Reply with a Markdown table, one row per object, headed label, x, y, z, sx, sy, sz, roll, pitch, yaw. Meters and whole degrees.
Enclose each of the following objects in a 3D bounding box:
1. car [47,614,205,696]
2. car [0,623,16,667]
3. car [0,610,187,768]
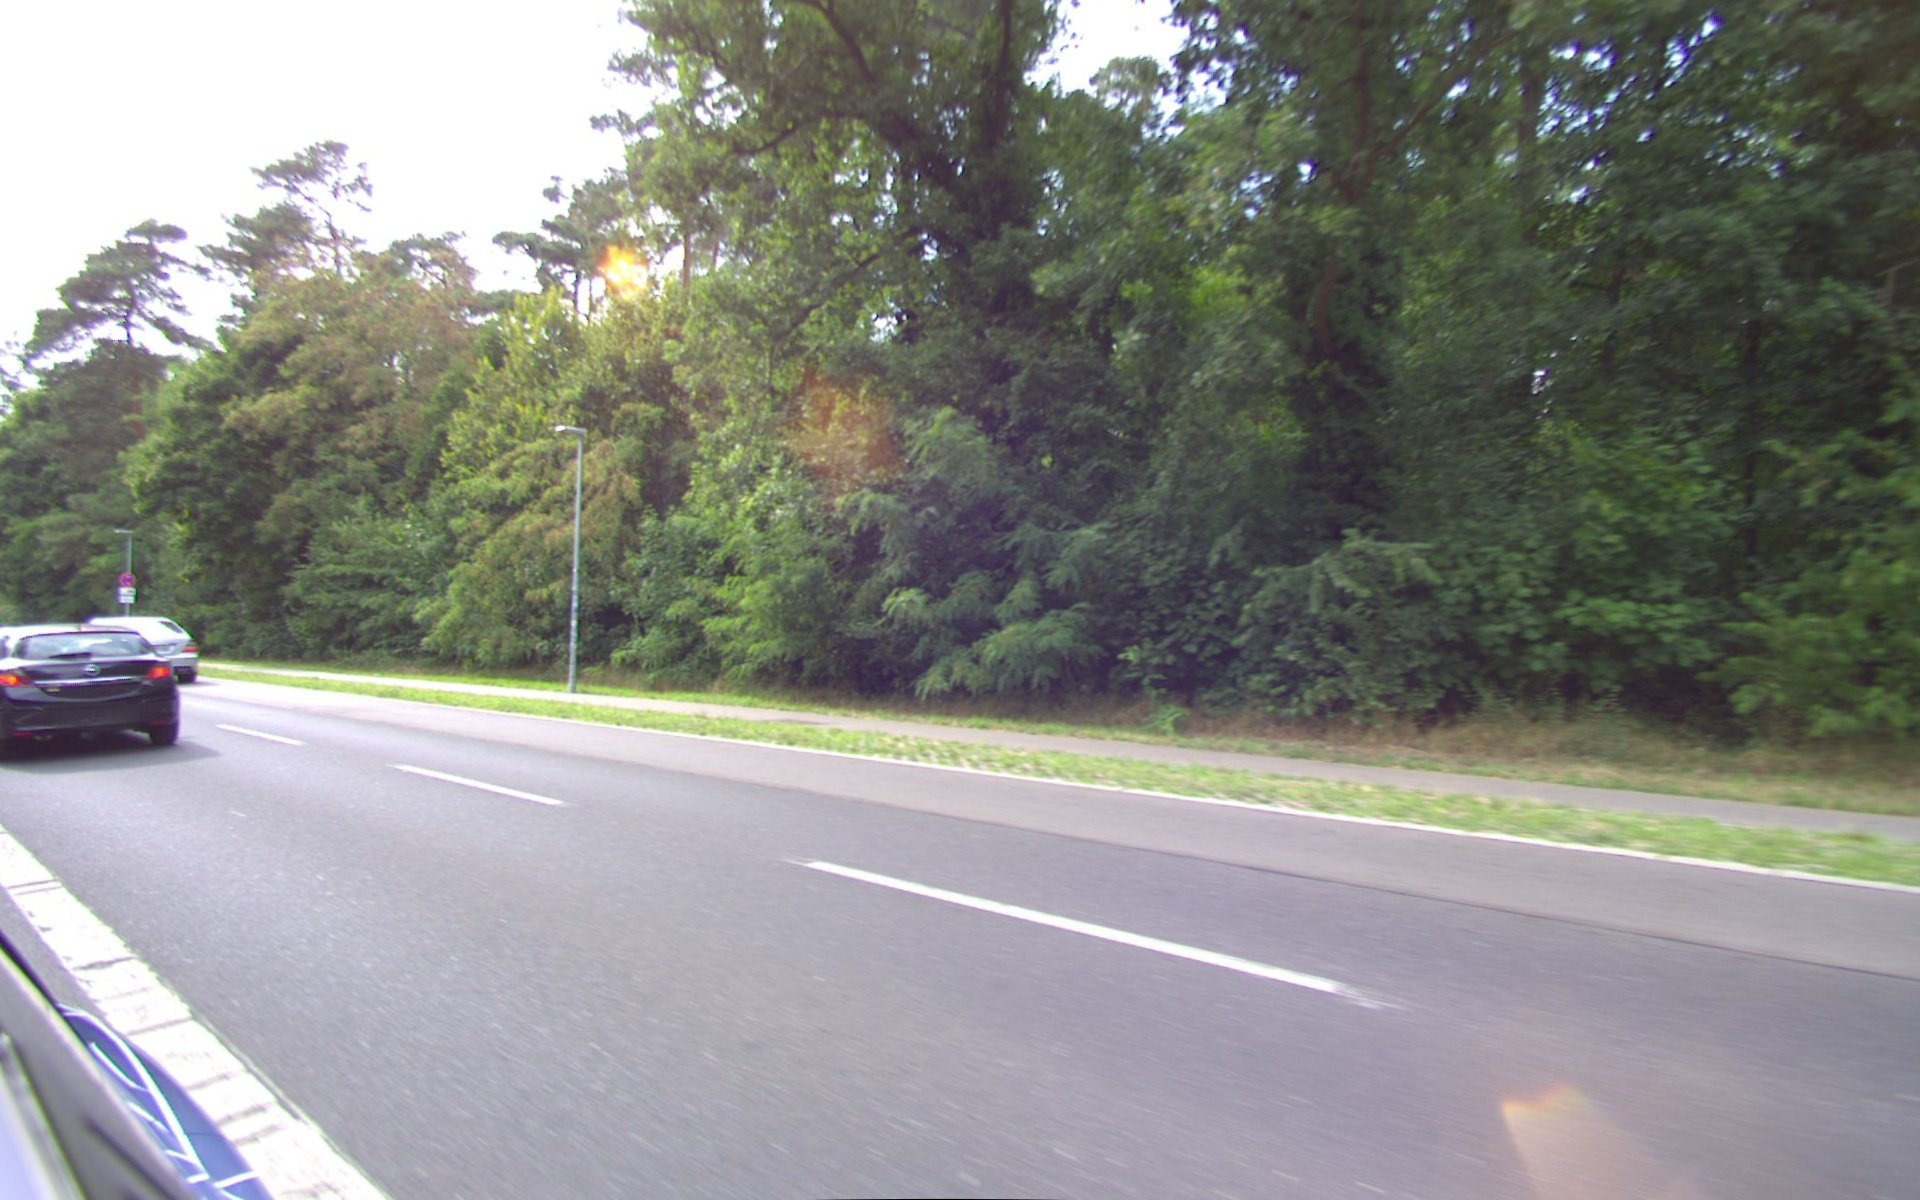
| label | x | y | z | sx | sy | sz | roll | pitch | yaw |
| --- | --- | --- | --- | --- | --- | --- | --- | --- | --- |
| car | -18.904 | 1.156 | 22.865 | 4.601 | 1.574 | 1.973 | 0 | 1 | 41 |
| car | -34.859 | 1.573 | 35.486 | 4.397 | 1.453 | 1.864 | 0 | 1 | 38 |
| car | -10.487 | 0.894 | 11.709 | 3.863 | 1.497 | 1.640 | 0 | 1 | 40 |
